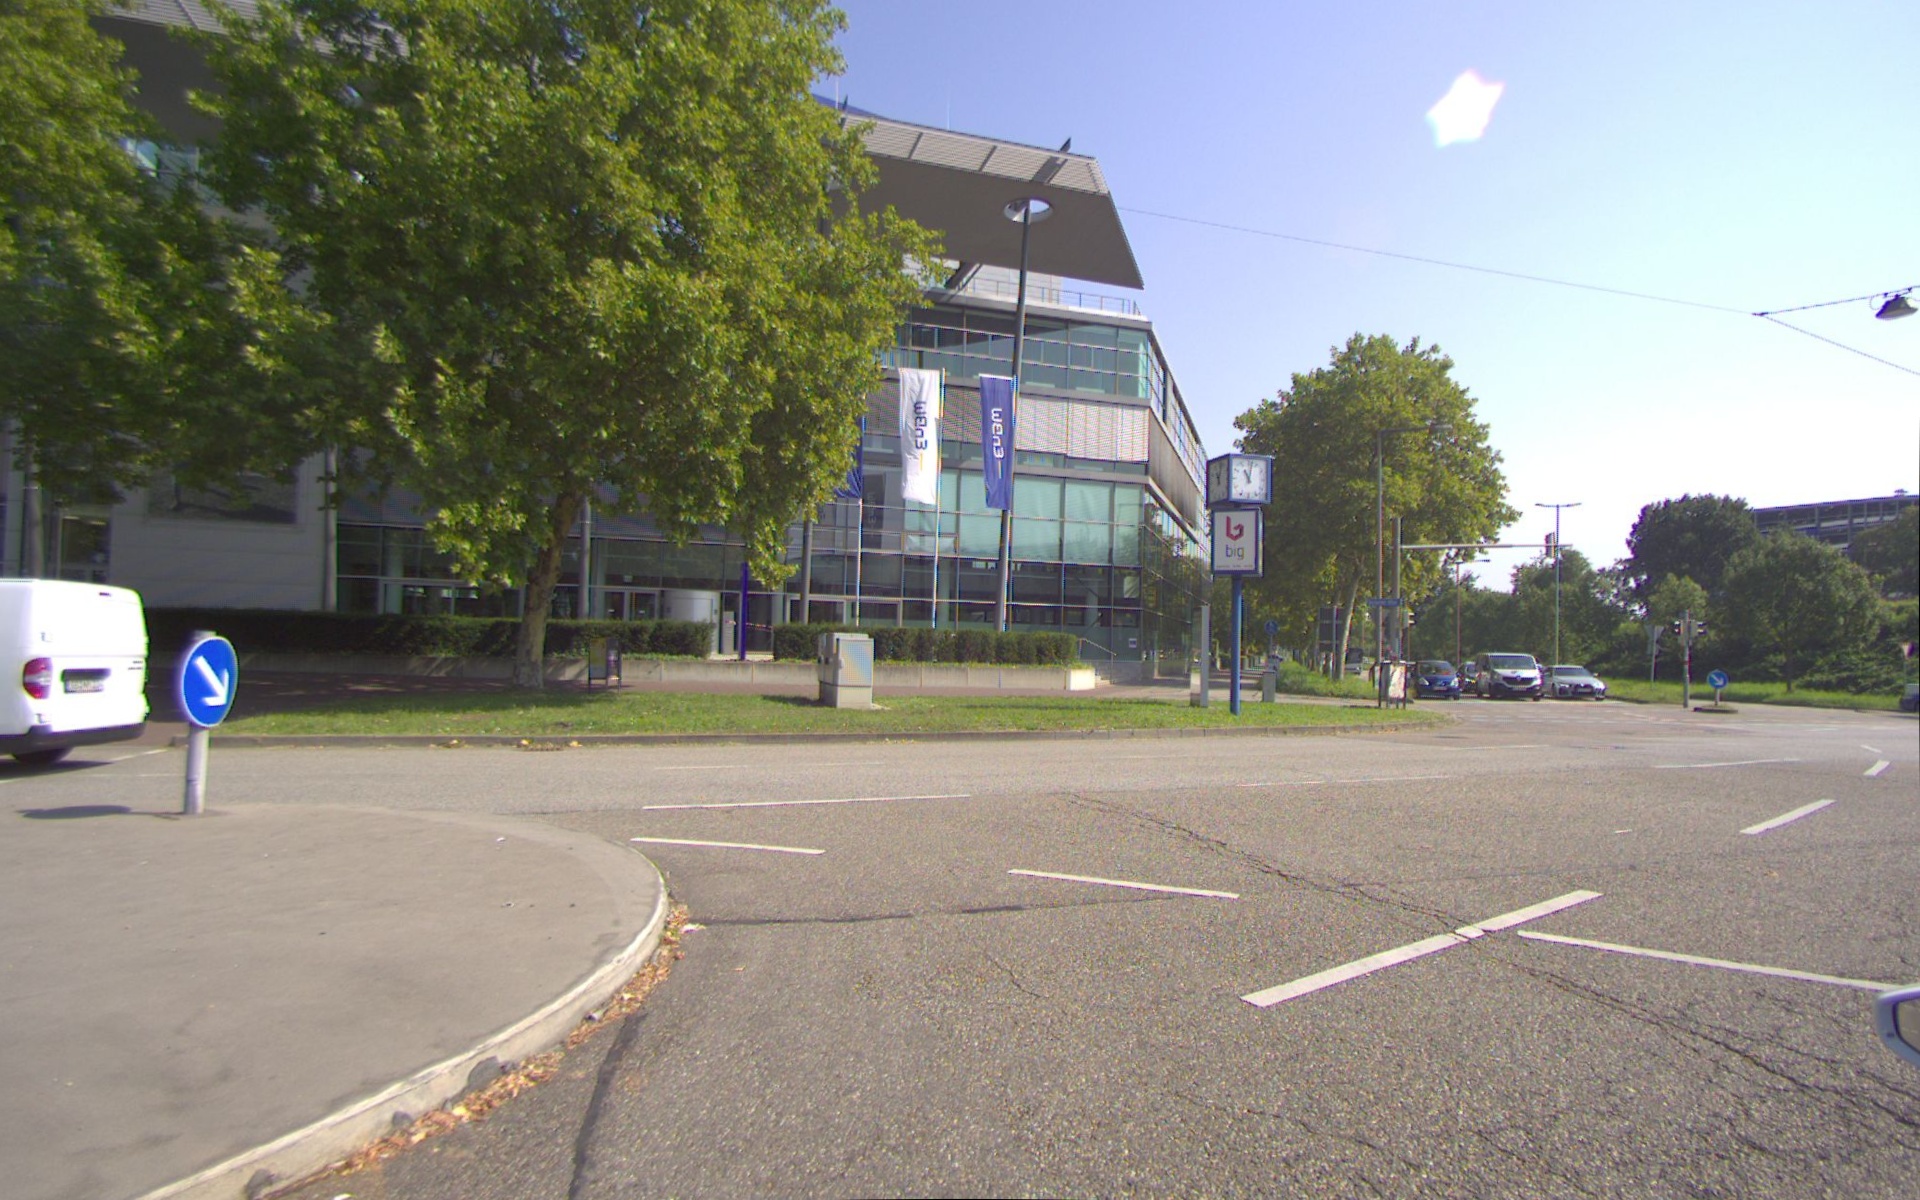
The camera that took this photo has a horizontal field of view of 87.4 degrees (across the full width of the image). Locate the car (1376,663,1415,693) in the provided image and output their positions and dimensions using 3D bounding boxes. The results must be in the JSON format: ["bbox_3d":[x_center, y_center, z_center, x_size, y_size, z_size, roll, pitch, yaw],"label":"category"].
[{"bbox_3d":[23.681,4.234,54.706,1.640,1.555,3.732,-1,-4,19],"label":"car"}]

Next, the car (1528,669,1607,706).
[{"bbox_3d":[26.258,3.758,43.607,1.804,1.462,4.609,-1,-4,17],"label":"car"}]

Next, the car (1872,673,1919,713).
[{"bbox_3d":[39.641,3.851,40.598,1.774,1.447,3.949,2,0,-43],"label":"car"}]

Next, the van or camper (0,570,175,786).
[{"bbox_3d":[-11.037,0.677,9.800,4.860,1.972,1.844,3,-5,-11],"label":"van or camper"}]

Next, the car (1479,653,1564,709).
[{"bbox_3d":[22.682,3.213,40.756,1.895,1.983,5.216,1,-2,17],"label":"car"}]

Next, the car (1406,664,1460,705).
[{"bbox_3d":[19.812,3.520,42.221,1.640,1.555,3.731,-1,-3,19],"label":"car"}]
